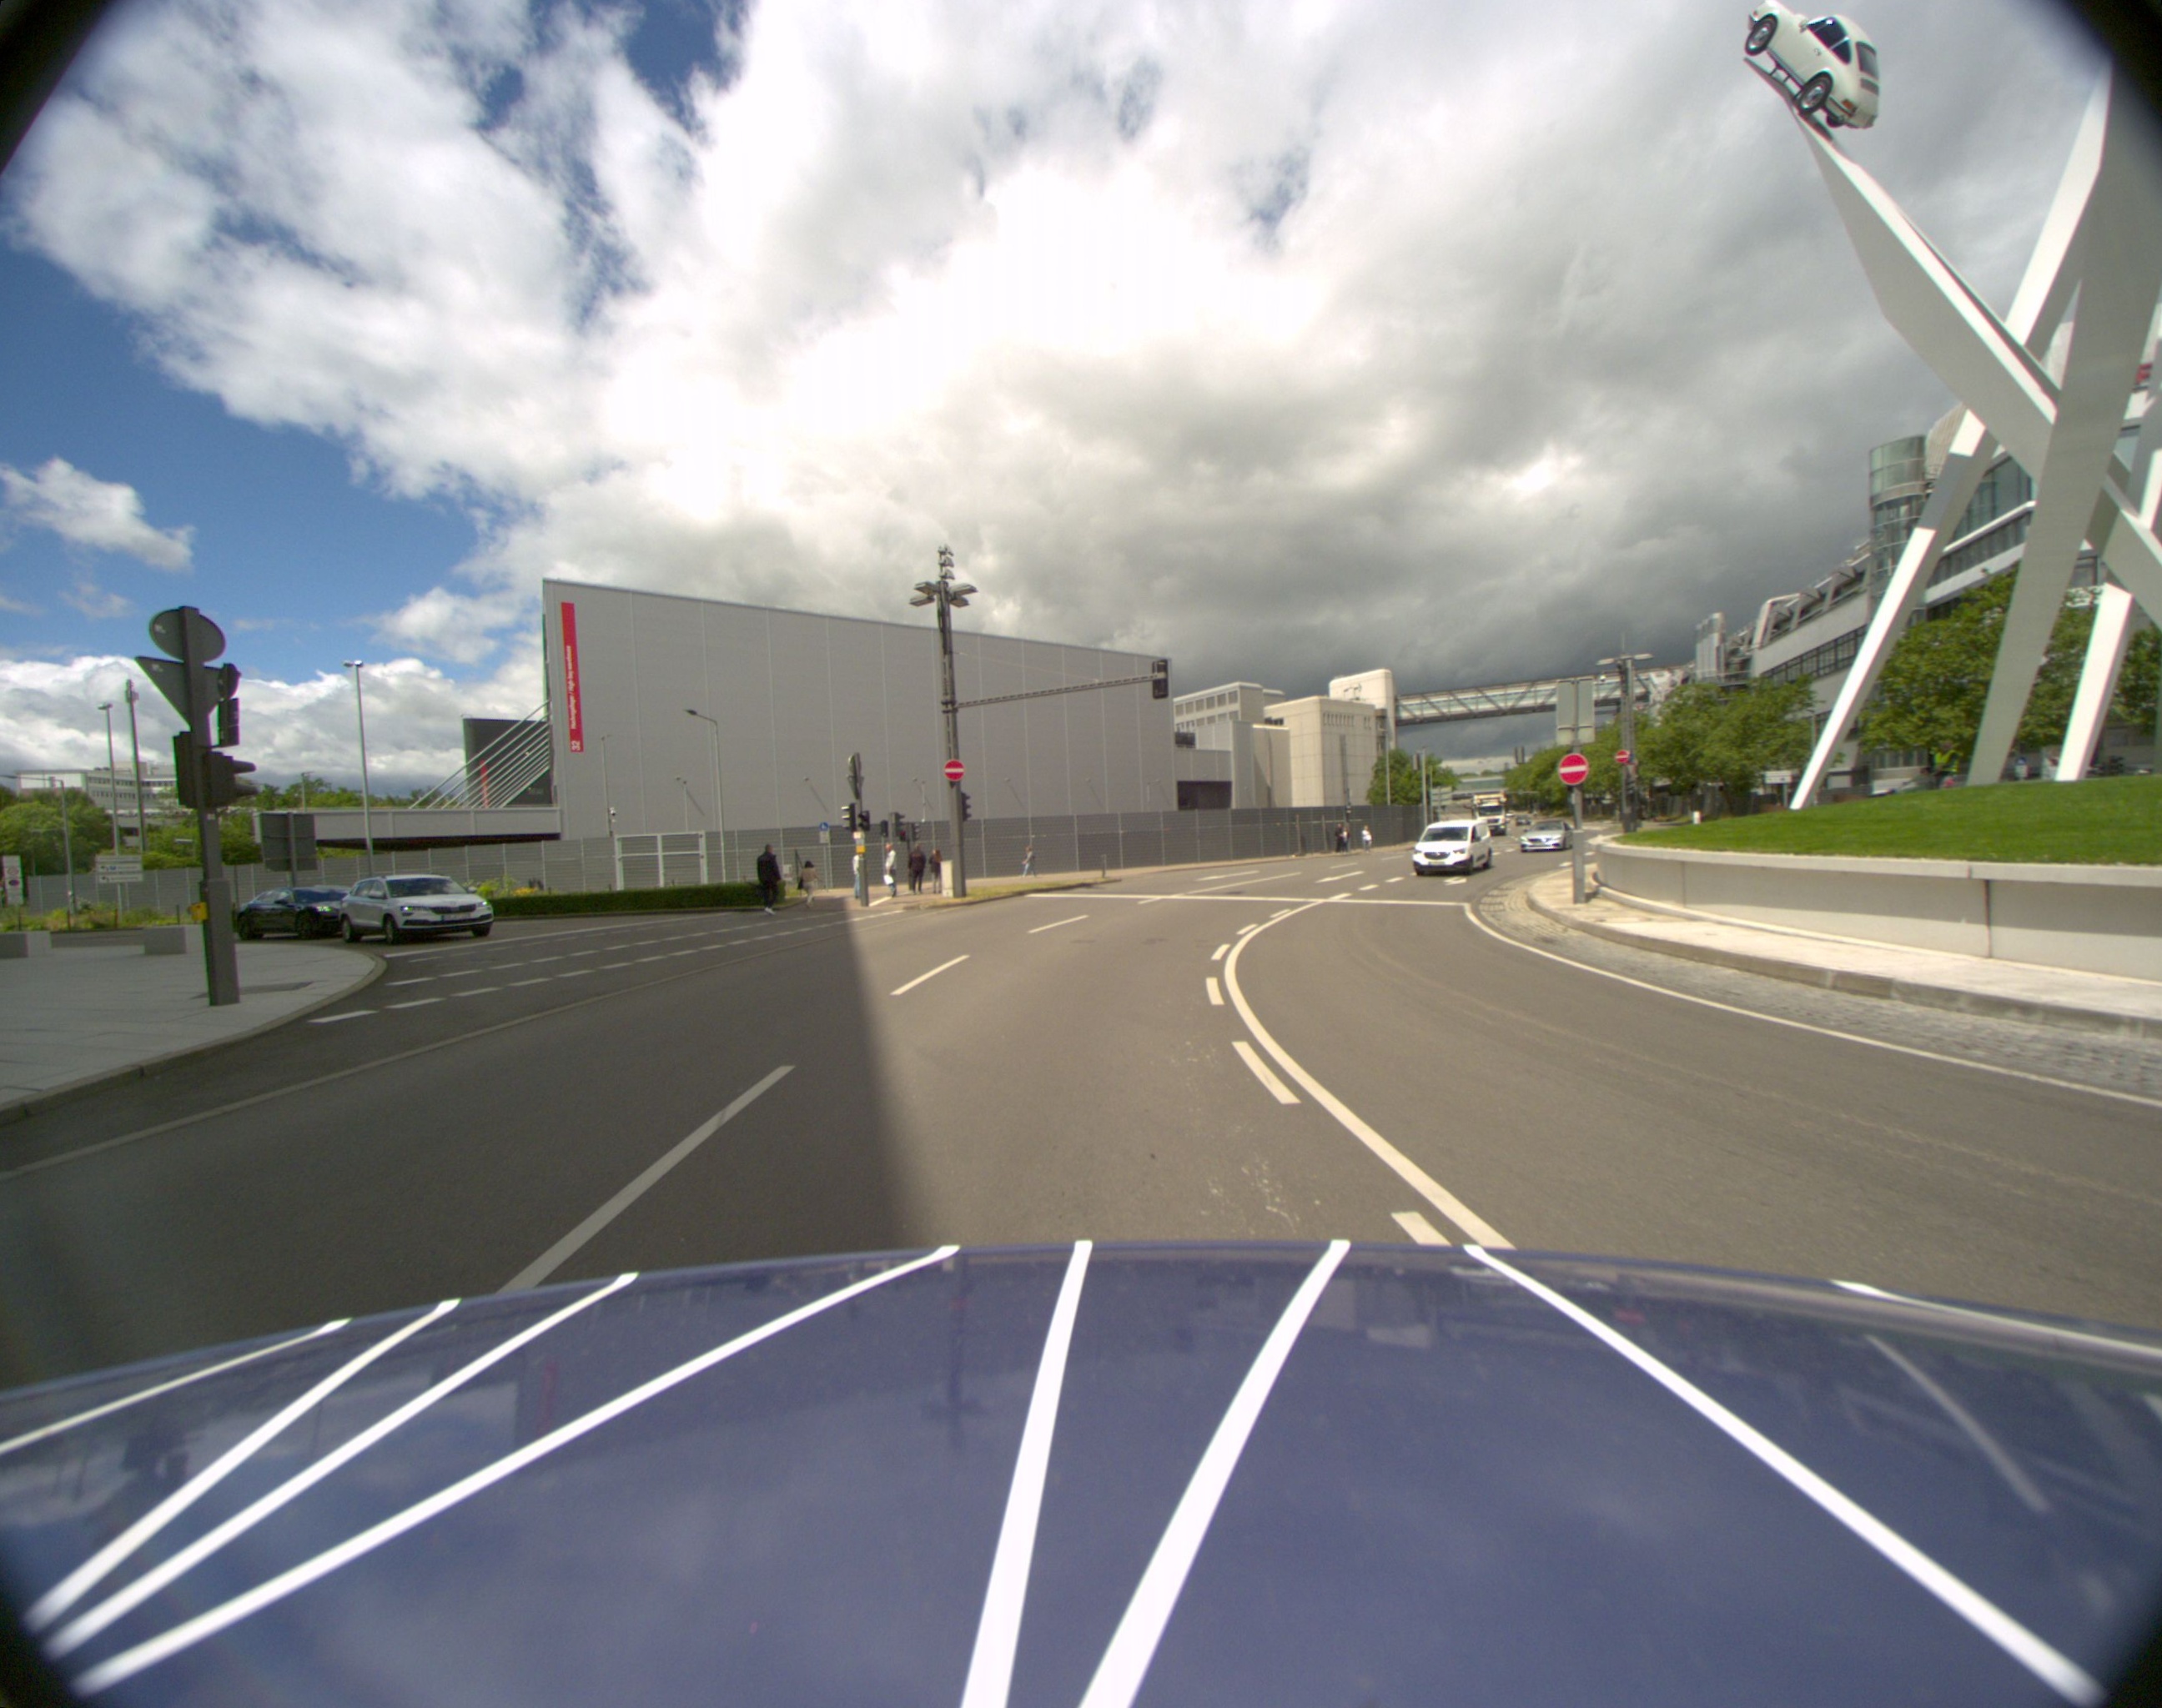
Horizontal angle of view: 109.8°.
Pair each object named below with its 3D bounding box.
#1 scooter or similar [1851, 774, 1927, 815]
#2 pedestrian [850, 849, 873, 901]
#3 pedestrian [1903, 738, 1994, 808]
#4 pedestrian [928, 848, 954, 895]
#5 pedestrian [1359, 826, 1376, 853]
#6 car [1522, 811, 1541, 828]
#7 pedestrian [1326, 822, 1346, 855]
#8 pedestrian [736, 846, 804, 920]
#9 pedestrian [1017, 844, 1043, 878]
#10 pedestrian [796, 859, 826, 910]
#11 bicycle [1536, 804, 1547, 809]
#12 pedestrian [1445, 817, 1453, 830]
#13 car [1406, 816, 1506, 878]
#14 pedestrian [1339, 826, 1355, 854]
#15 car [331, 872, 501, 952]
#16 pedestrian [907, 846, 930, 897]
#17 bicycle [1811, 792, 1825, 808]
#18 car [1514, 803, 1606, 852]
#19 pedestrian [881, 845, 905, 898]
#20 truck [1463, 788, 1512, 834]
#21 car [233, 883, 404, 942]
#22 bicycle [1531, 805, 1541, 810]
[{"bbox_3d":[22.354,-1.651,21.038,1.403,1.020,0.550,-3,3,7],"label":"scooter or similar"},{"bbox_3d":[-7.770,0.731,26.914,0.620,1.750,0.606,-5,3,-18],"label":"pedestrian"},{"bbox_3d":[23.762,-2.192,20.849,1.284,1.807,0.987,-1,3,10],"label":"pedestrian"},{"bbox_3d":[-5.092,0.613,27.672,0.672,1.629,0.620,-5,2,-1],"label":"pedestrian"},{"bbox_3d":[17.632,-0.907,46.717,0.660,1.599,0.824,-3,3,37],"label":"pedestrian"},{"bbox_3d":[61.872,-4.739,104.429,1.869,1.945,4.717,-4,2,27],"label":"car"},{"bbox_3d":[14.889,-0.892,44.339,0.793,1.856,0.660,-5,3,-12],"label":"pedestrian"},{"bbox_3d":[-8.722,0.797,21.316,0.954,1.973,1.384,-2,1,42],"label":"pedestrian"},{"bbox_3d":[-2.526,0.350,37.752,0.922,1.577,0.694,-6,3,-32],"label":"pedestrian"},{"bbox_3d":[-8.377,0.933,23.572,0.583,1.488,0.771,-5,2,-6],"label":"pedestrian"},{"bbox_3d":[125.986,-12.900,207.704,2.558,1.079,0.616,-3,3,31],"label":"bicycle"},{"bbox_3d":[50.238,-4.163,103.666,0.795,1.711,0.732,-4,3,22],"label":"pedestrian"},{"bbox_3d":[13.351,-0.276,26.933,1.821,2.002,4.399,-2,1,45],"label":"car"},{"bbox_3d":[15.572,-0.804,44.492,0.663,1.607,0.464,-5,3,-12],"label":"pedestrian"},{"bbox_3d":[-15.786,1.289,18.006,3.989,1.541,1.841,-1,4,32],"label":"car"},{"bbox_3d":[-5.897,0.612,27.594,0.620,1.785,0.672,-5,3,-17],"label":"pedestrian"},{"bbox_3d":[51.973,-3.805,53.594,0.296,1.125,1.487,-3,3,29],"label":"bicycle"},{"bbox_3d":[23.178,-1.287,36.742,4.717,1.945,1.869,-7,3,-33],"label":"car"},{"bbox_3d":[-6.712,0.618,27.167,0.620,1.837,0.672,-5,3,-19],"label":"pedestrian"},{"bbox_3d":[38.132,-4.056,71.568,2.709,3.864,10.752,-3,2,22],"label":"truck"},{"bbox_3d":[-21.190,1.623,21.115,4.149,1.375,1.841,-3,1,23],"label":"car"},{"bbox_3d":[131.172,-13.430,219.112,2.558,1.171,0.616,-3,3,26],"label":"bicycle"}]
